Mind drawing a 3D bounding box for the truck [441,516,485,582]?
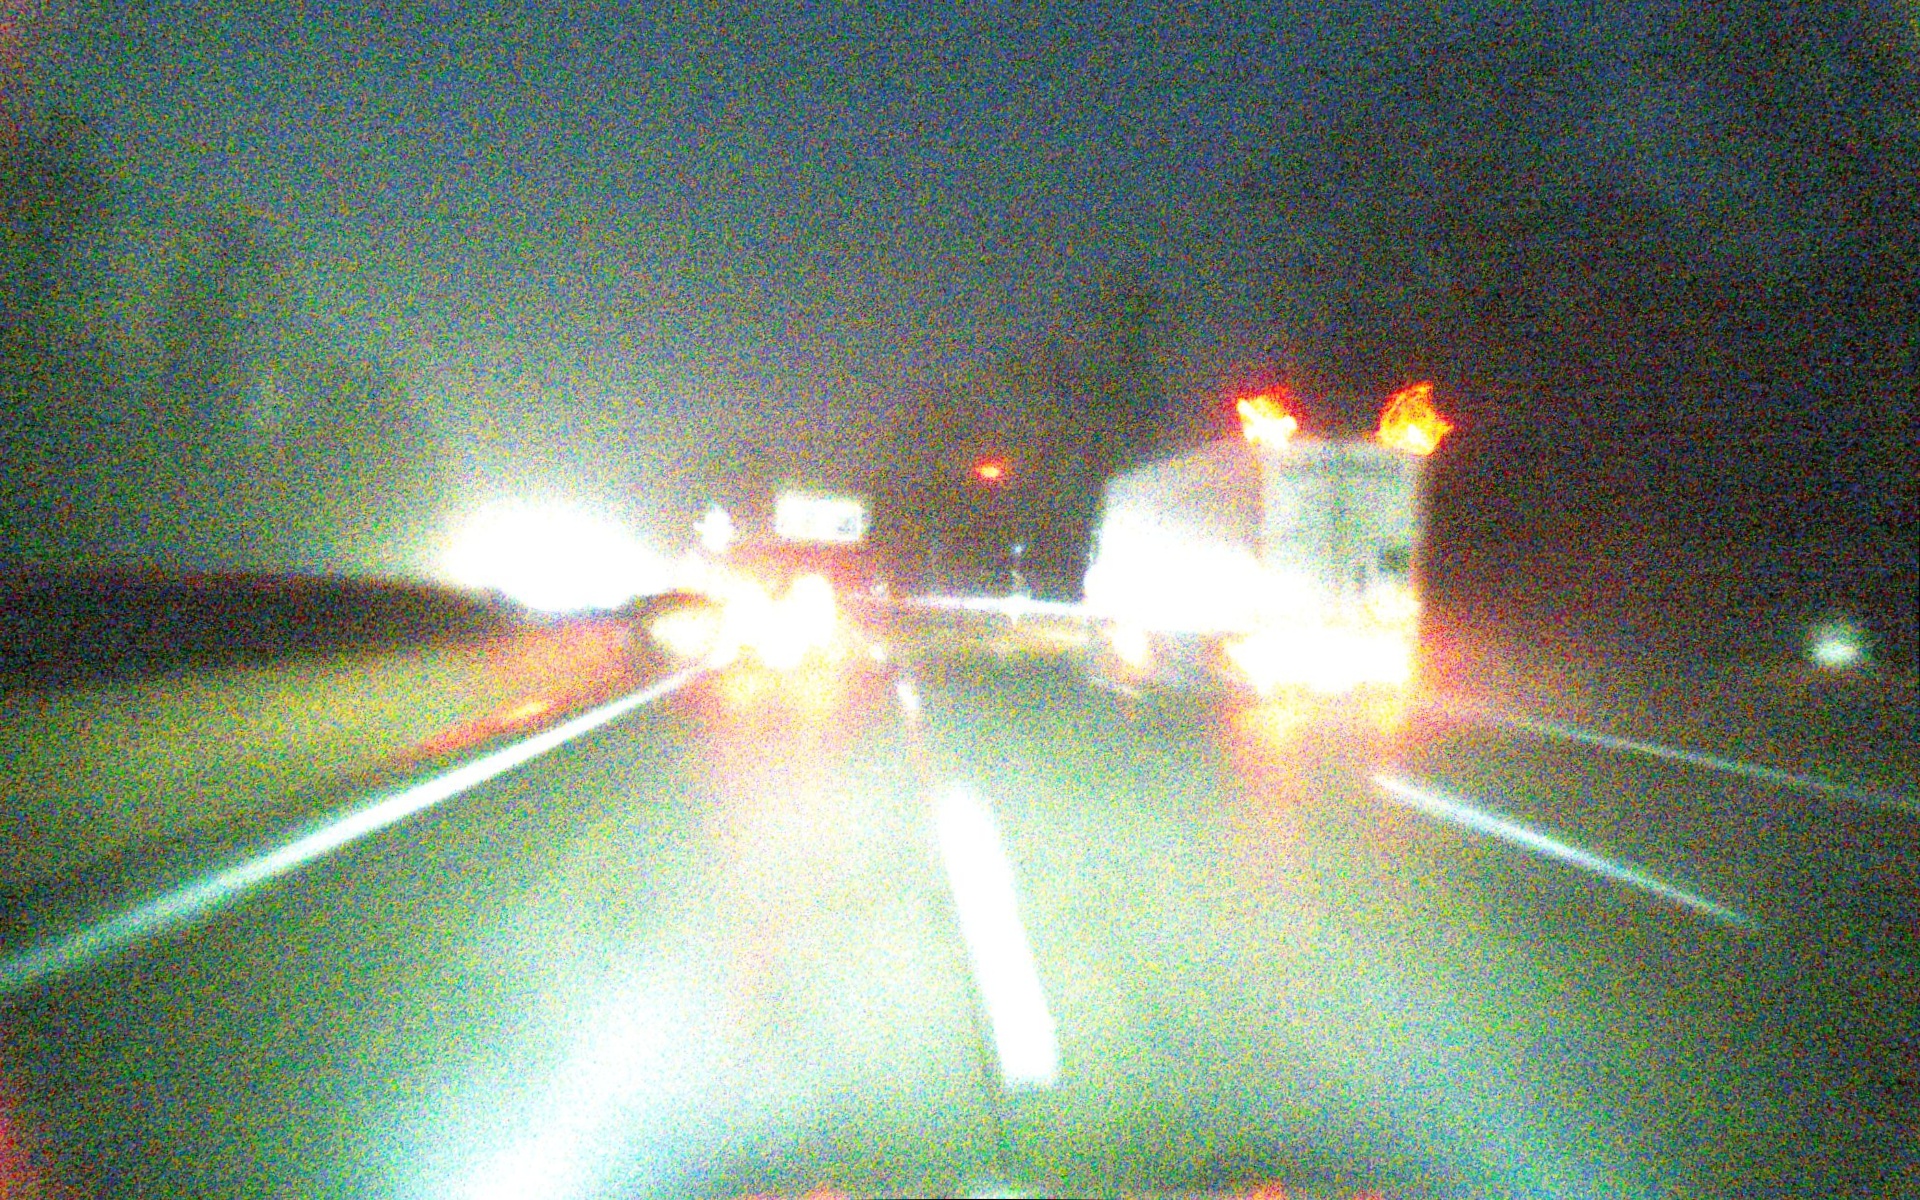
[{"bbox_3d":[-41.333,-4.294,137.733,2.704,5.185,5.865,4,1,-12],"label":"truck"}]

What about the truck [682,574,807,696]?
[{"bbox_3d":[-4.347,0.636,34.329,2.104,2.113,6.597,5,0,-5],"label":"truck"}]

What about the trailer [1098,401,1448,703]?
[{"bbox_3d":[5.101,-0.745,30.570,2.686,4.322,13.356,-1,0,-5],"label":"trailer"}]

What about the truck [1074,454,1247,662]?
[{"bbox_3d":[4.398,-0.891,37.329,2.658,4.315,5.285,1,0,-6],"label":"truck"}]
